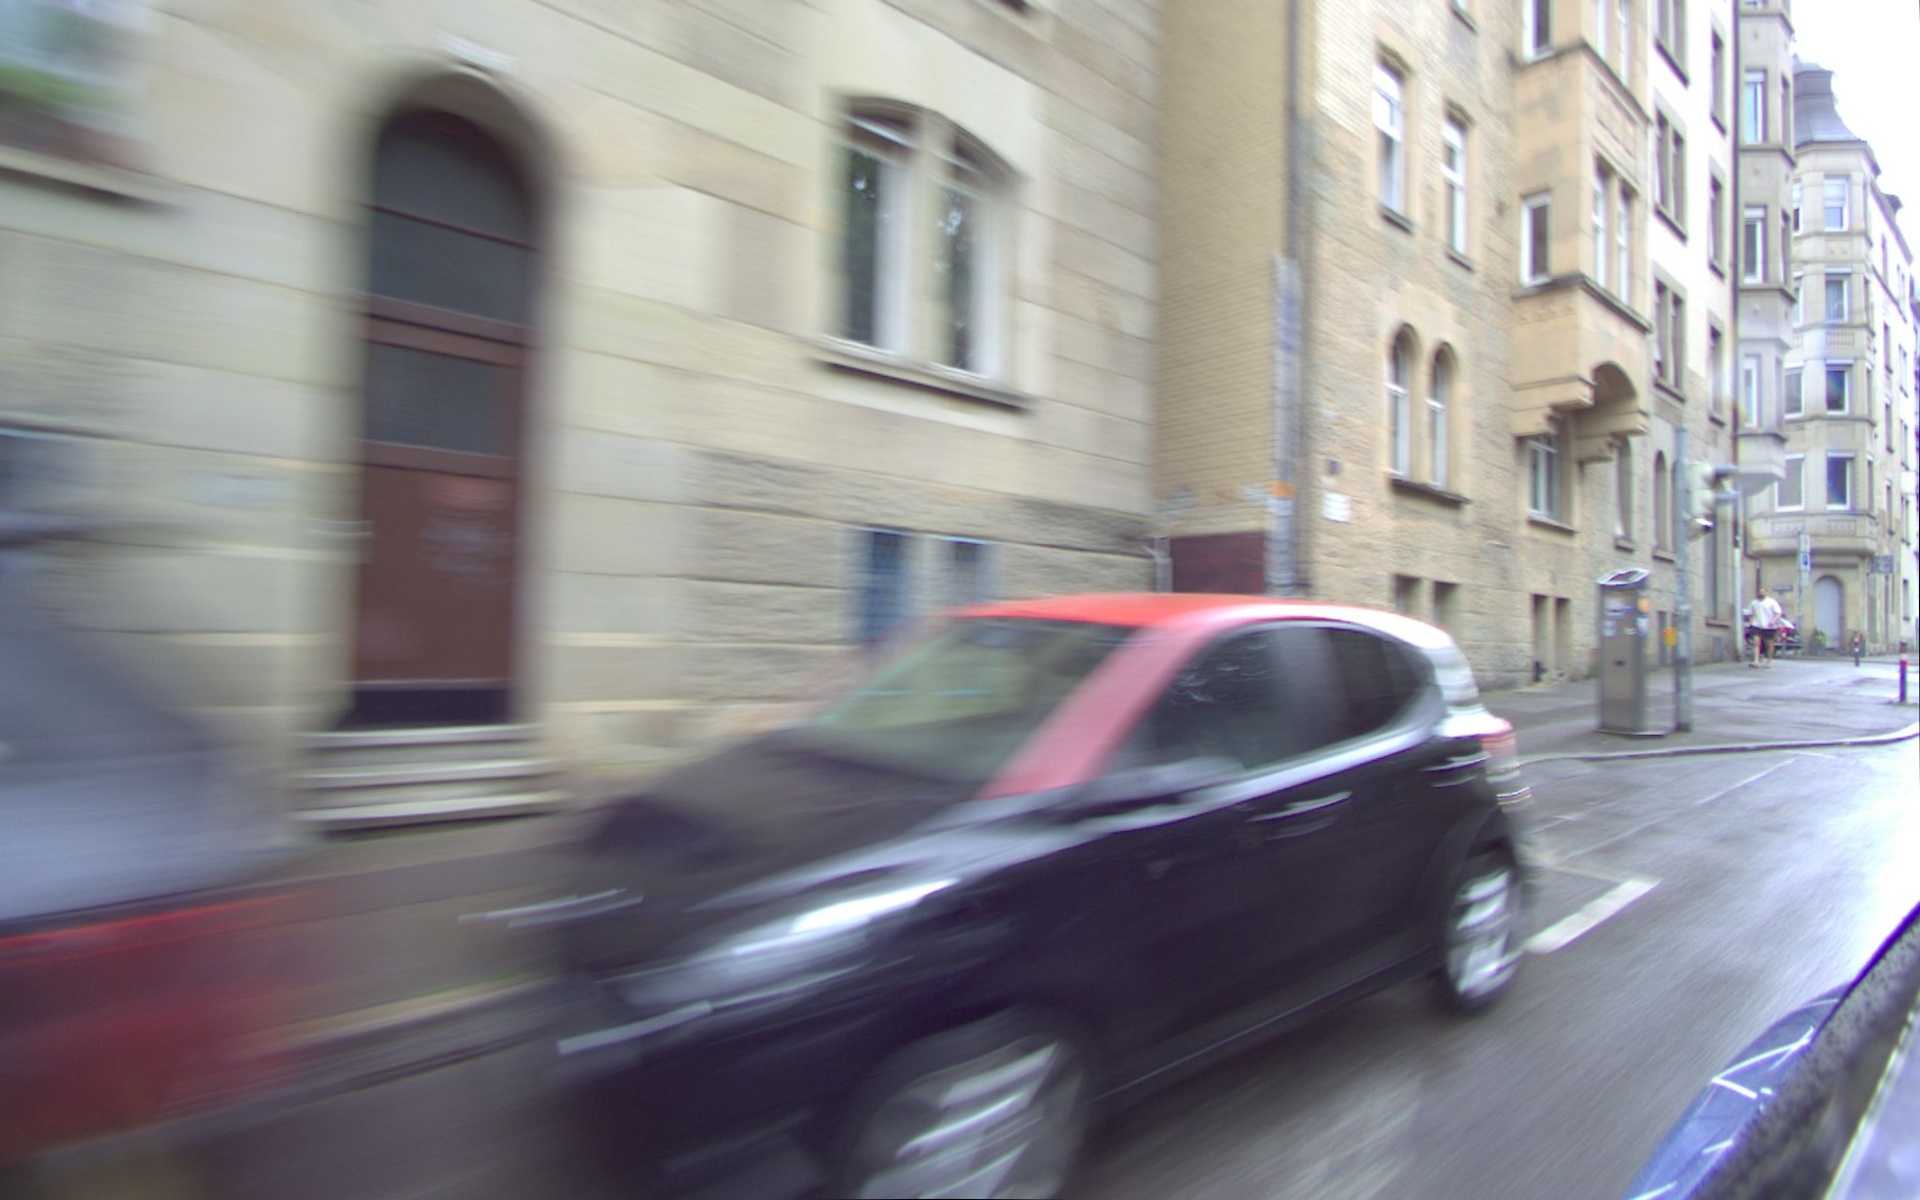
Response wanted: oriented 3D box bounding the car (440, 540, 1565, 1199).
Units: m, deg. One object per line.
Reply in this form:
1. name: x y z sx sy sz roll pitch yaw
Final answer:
1. car: 0.356 0.646 3.414 3.542 1.471 1.666 0 -1 -37

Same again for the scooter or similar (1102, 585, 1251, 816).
1. scooter or similar: 1.484 0.593 6.772 0.365 1.331 1.548 2 3 36

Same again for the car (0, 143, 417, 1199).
1. car: -2.877 0.438 0.426 4.419 1.730 1.769 0 0 -40

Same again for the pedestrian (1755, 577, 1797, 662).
1. pedestrian: 17.500 0.411 21.708 0.564 1.774 0.580 2 -1 -39

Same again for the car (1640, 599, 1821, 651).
1. car: 25.650 0.789 33.847 1.746 1.518 4.508 4 -1 -38
